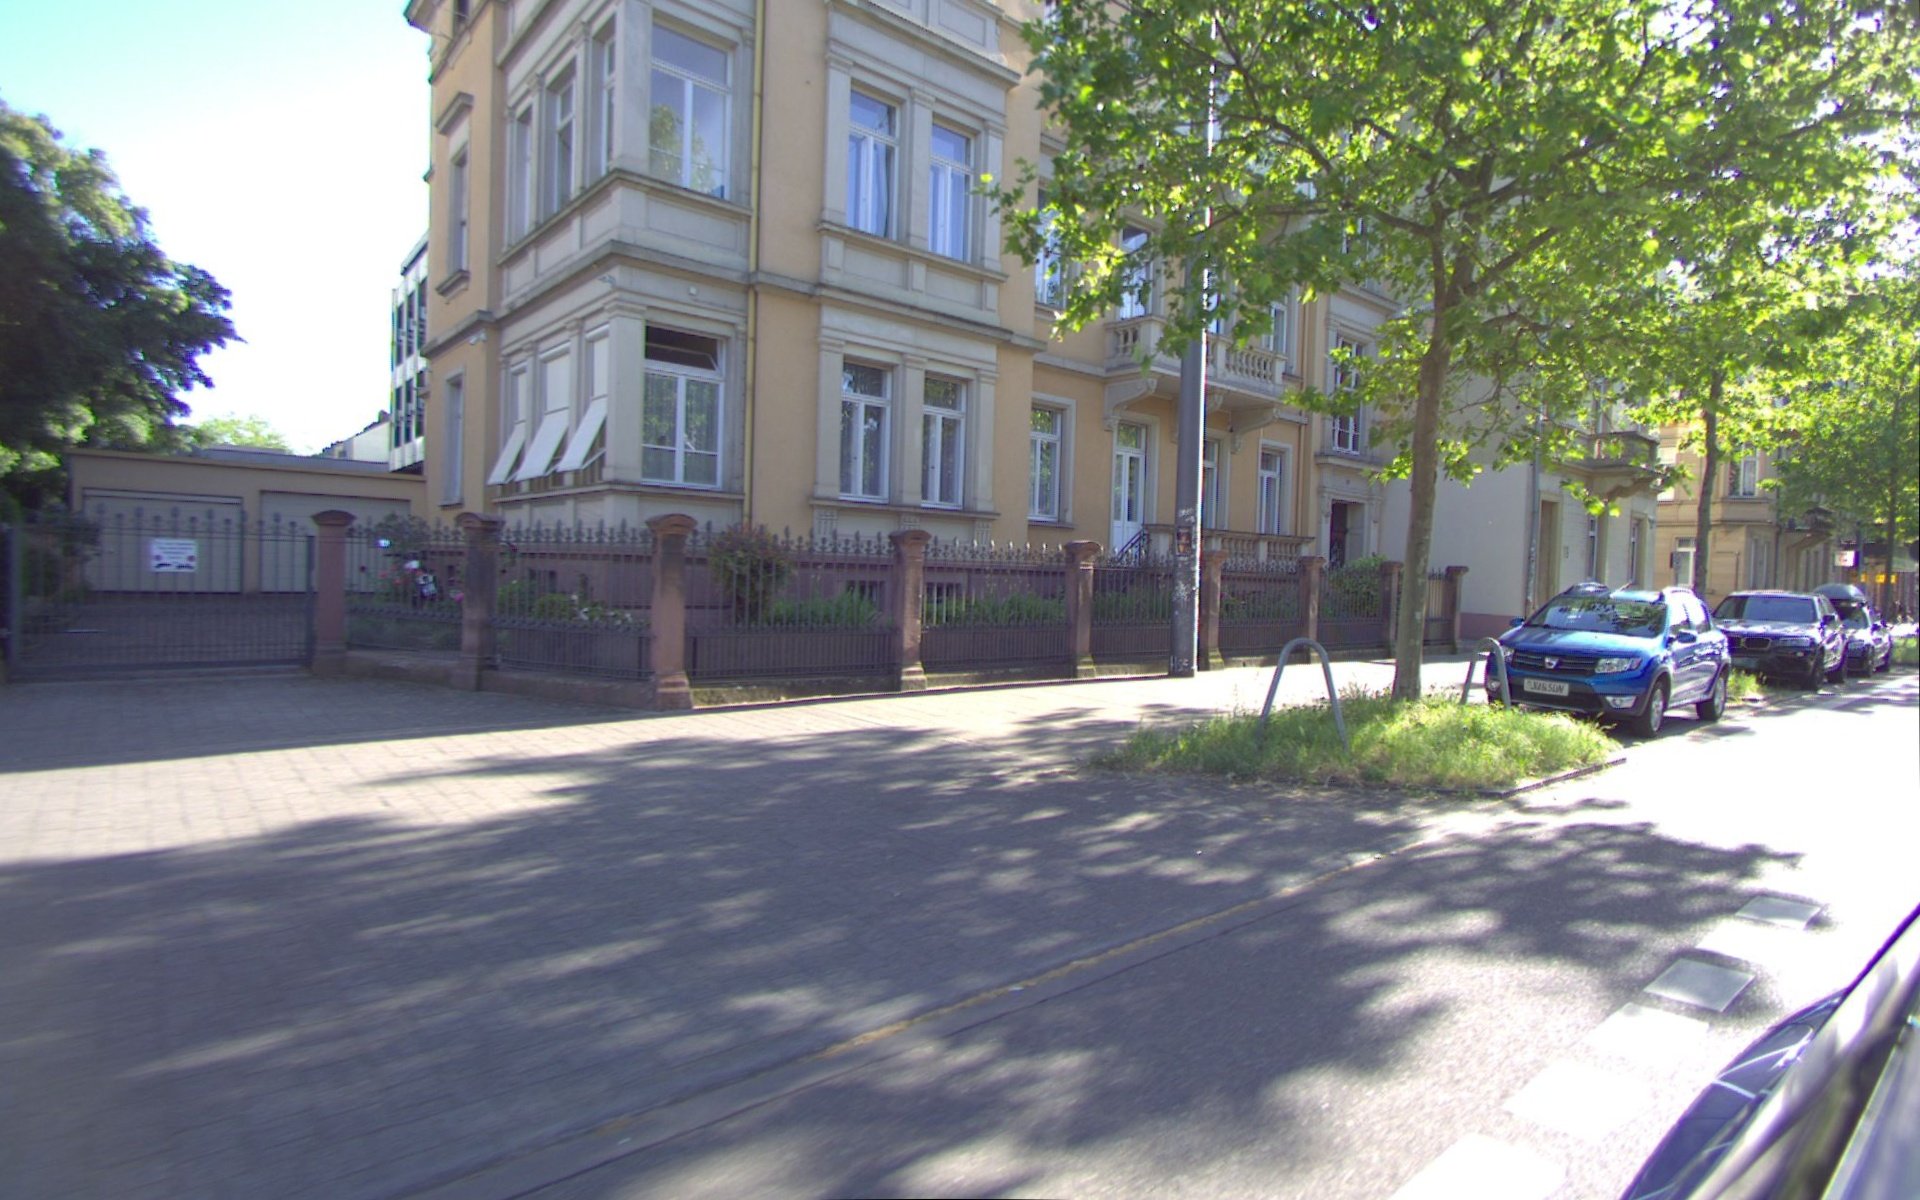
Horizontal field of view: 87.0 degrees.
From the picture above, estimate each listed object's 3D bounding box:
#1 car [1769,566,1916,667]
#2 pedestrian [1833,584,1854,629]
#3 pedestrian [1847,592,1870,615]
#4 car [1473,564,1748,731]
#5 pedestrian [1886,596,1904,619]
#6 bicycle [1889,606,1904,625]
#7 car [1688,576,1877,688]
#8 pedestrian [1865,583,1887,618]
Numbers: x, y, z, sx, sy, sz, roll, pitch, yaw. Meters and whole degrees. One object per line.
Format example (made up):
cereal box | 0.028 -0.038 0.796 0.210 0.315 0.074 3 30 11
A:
car | 19.452 0.331 22.235 4.654 1.989 1.758 1 1 -41
pedestrian | 36.921 0.274 42.296 0.943 1.850 0.564 1 -1 -44
pedestrian | 47.203 0.190 53.180 0.643 1.176 0.671 1 -1 14
car | 7.960 0.499 12.244 3.968 1.678 1.695 2 1 -41
pedestrian | 48.775 0.397 52.801 0.644 1.176 0.602 0 -1 39
bicycle | 52.061 0.860 56.257 1.659 1.006 0.443 1 -1 -42
car | 14.863 0.484 18.202 4.654 1.721 1.802 0 2 -41
pedestrian | 47.518 0.024 52.476 0.758 1.833 0.470 1 -1 -9
